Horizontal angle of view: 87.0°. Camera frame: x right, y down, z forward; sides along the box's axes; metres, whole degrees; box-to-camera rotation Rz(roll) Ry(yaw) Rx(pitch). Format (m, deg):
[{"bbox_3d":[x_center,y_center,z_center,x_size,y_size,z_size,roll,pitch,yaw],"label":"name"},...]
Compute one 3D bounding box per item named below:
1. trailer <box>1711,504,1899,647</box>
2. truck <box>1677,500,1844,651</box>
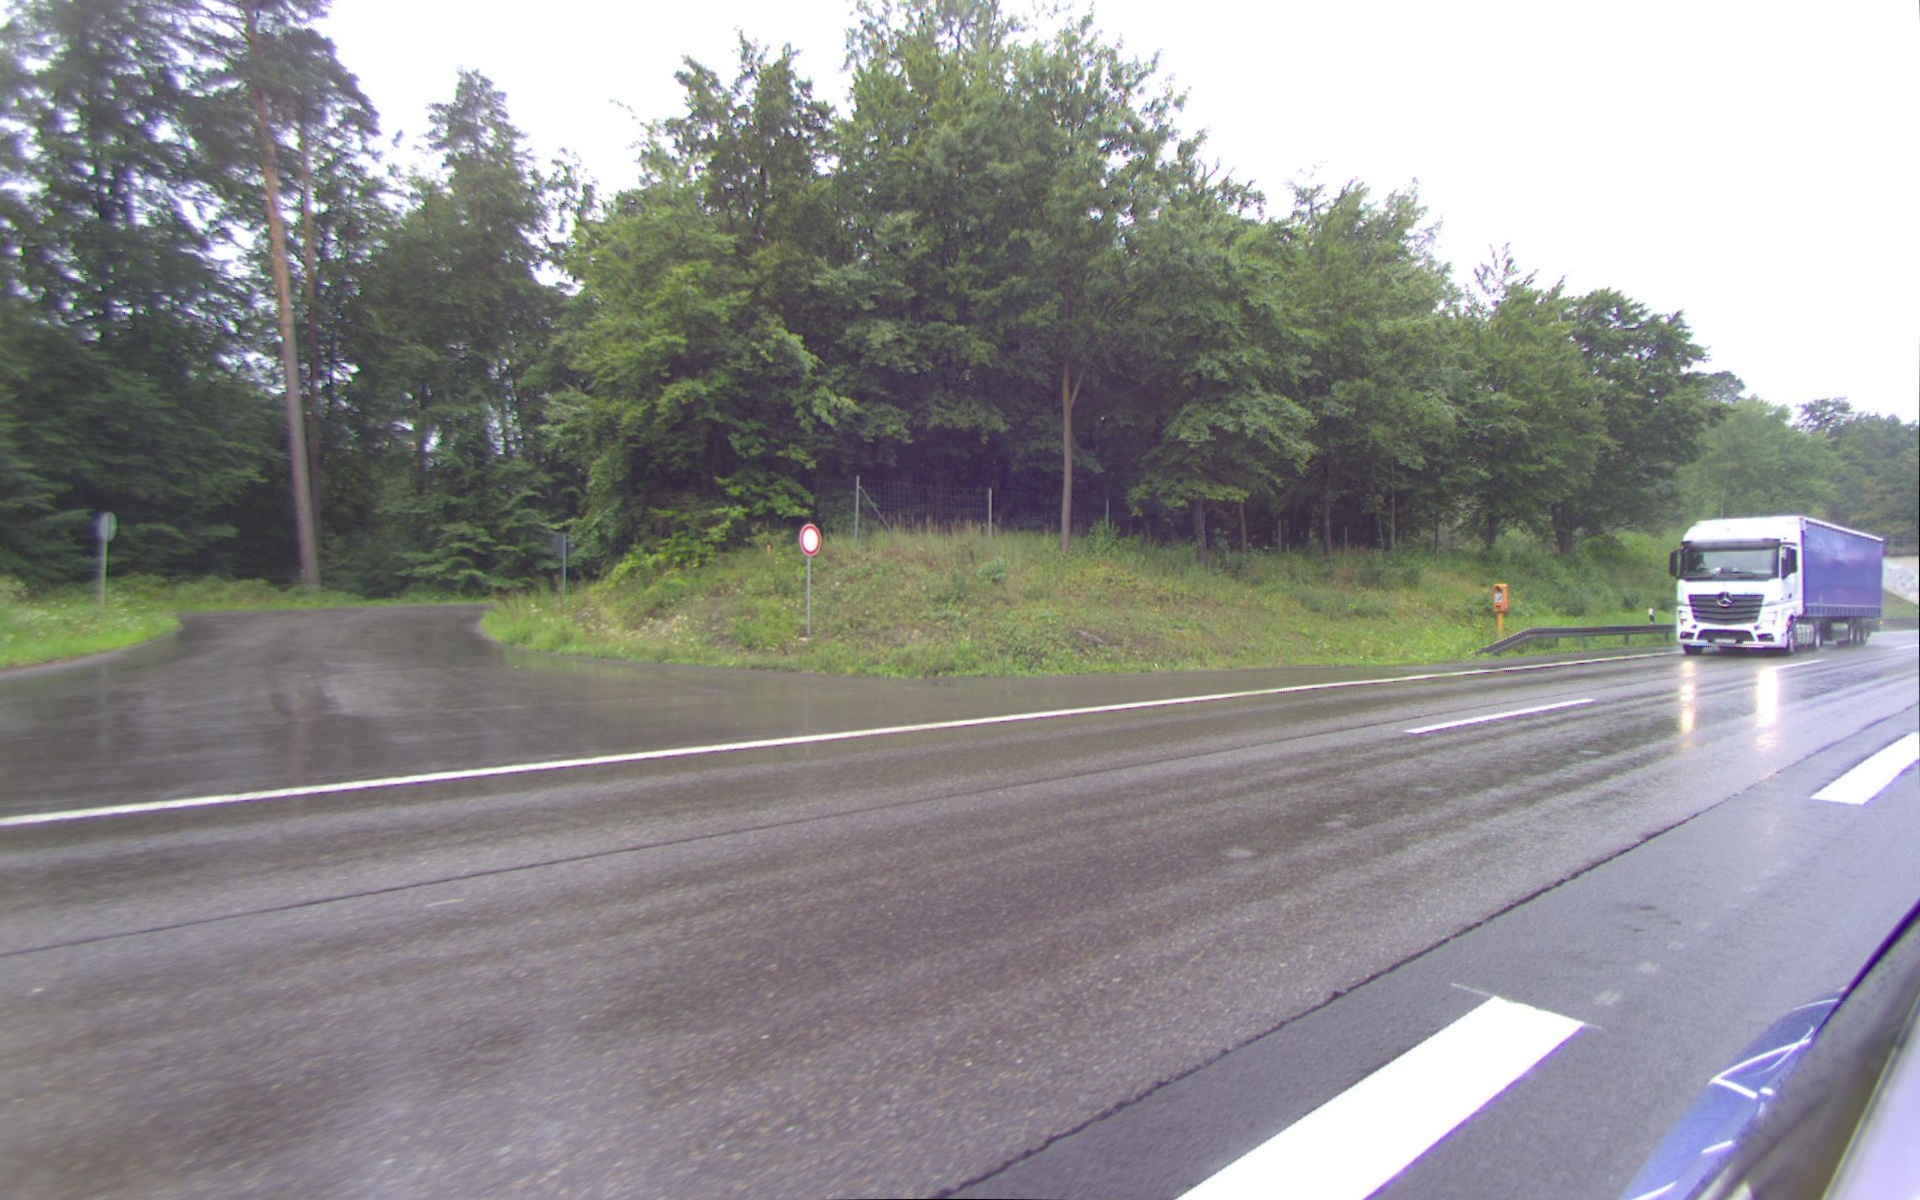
[{"bbox_3d":[28.865,-0.735,34.196,13.471,4.064,2.558,0,0,-40],"label":"trailer"},{"bbox_3d":[23.880,-0.659,30.096,5.904,4.065,2.607,0,-1,-39],"label":"truck"}]
